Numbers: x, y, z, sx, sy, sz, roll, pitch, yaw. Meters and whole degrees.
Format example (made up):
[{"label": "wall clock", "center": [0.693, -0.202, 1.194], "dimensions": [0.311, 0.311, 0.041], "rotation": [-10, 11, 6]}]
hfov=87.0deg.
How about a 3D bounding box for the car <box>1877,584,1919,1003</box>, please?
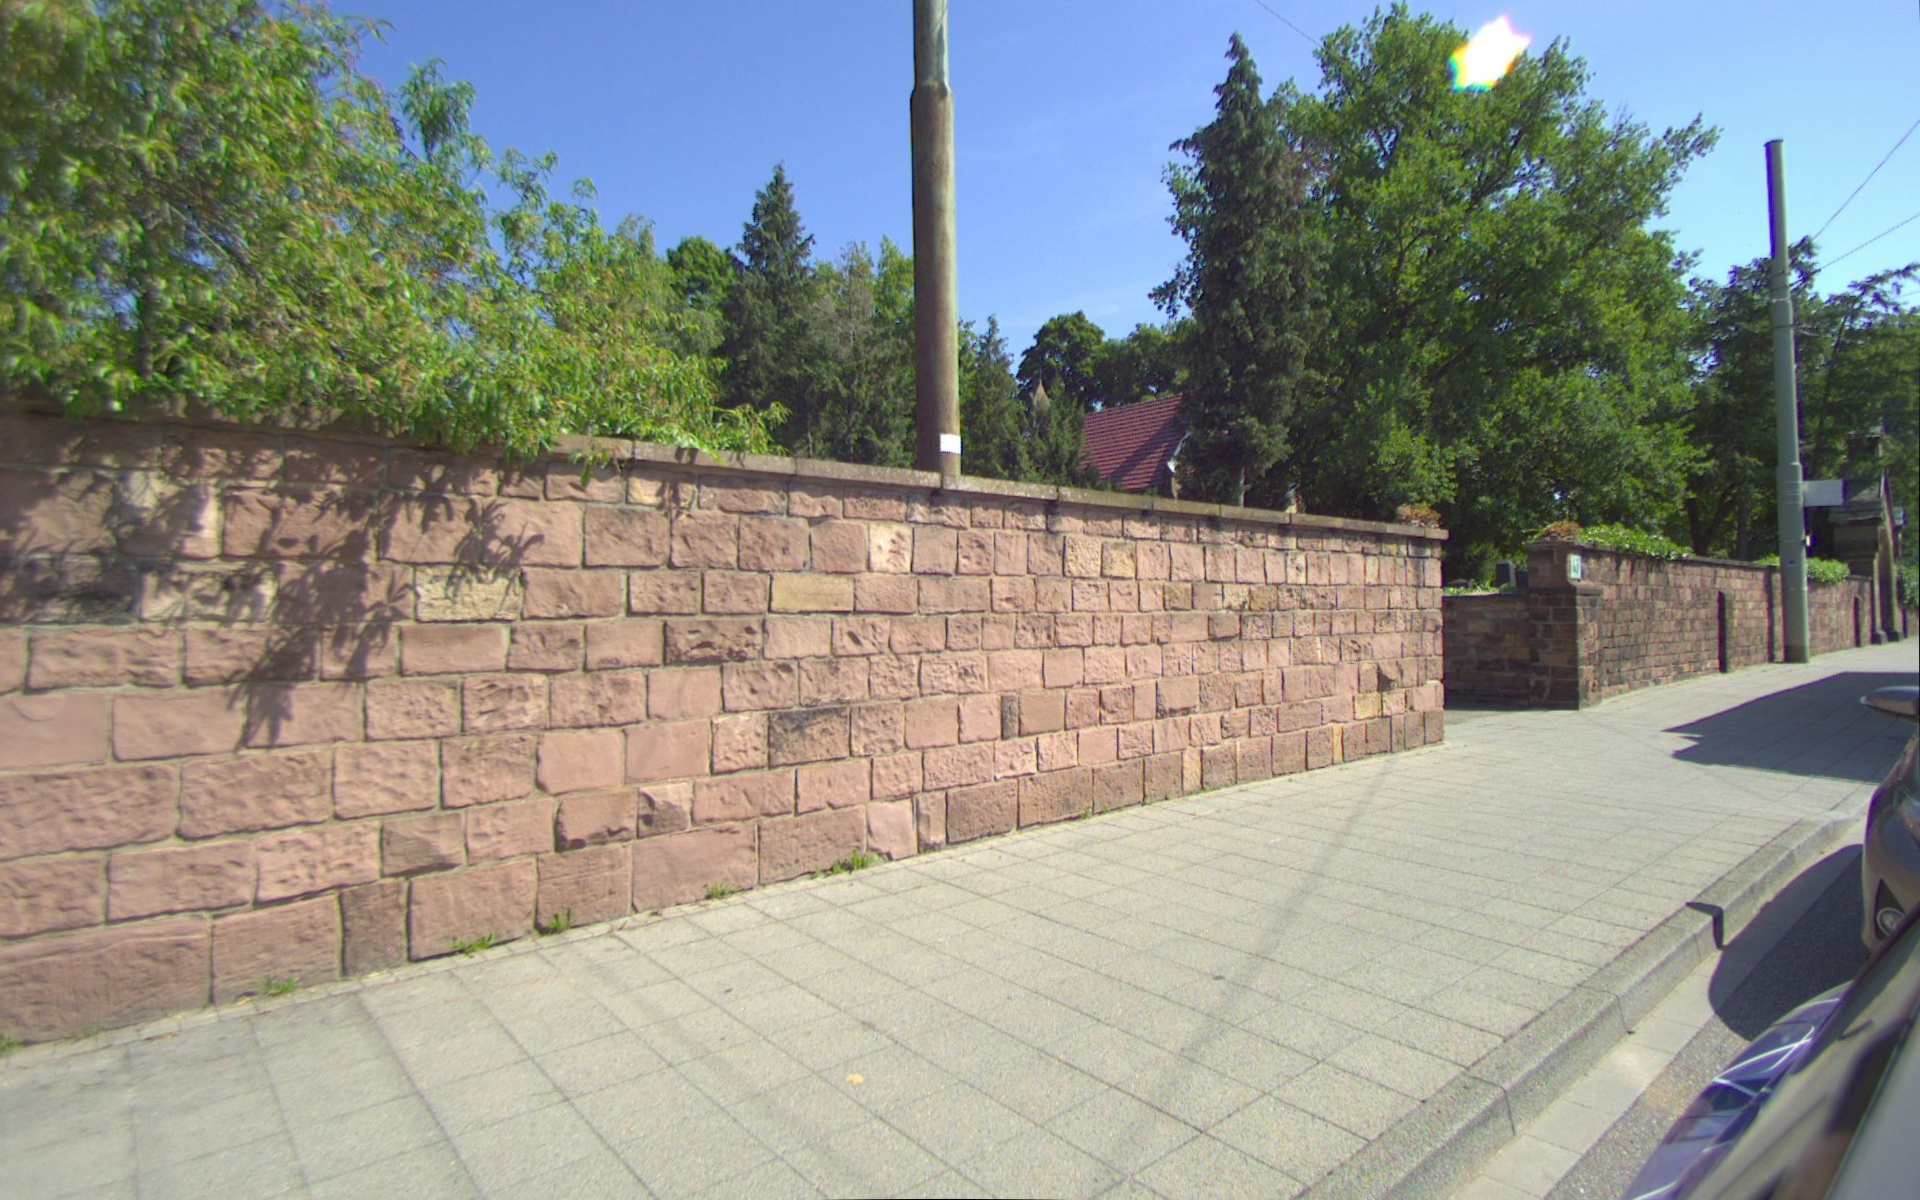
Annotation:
[{"label": "car", "center": [5.145, 0.643, 4.123], "dimensions": [3.930, 1.400, 1.653], "rotation": [0, 1, -41]}]
